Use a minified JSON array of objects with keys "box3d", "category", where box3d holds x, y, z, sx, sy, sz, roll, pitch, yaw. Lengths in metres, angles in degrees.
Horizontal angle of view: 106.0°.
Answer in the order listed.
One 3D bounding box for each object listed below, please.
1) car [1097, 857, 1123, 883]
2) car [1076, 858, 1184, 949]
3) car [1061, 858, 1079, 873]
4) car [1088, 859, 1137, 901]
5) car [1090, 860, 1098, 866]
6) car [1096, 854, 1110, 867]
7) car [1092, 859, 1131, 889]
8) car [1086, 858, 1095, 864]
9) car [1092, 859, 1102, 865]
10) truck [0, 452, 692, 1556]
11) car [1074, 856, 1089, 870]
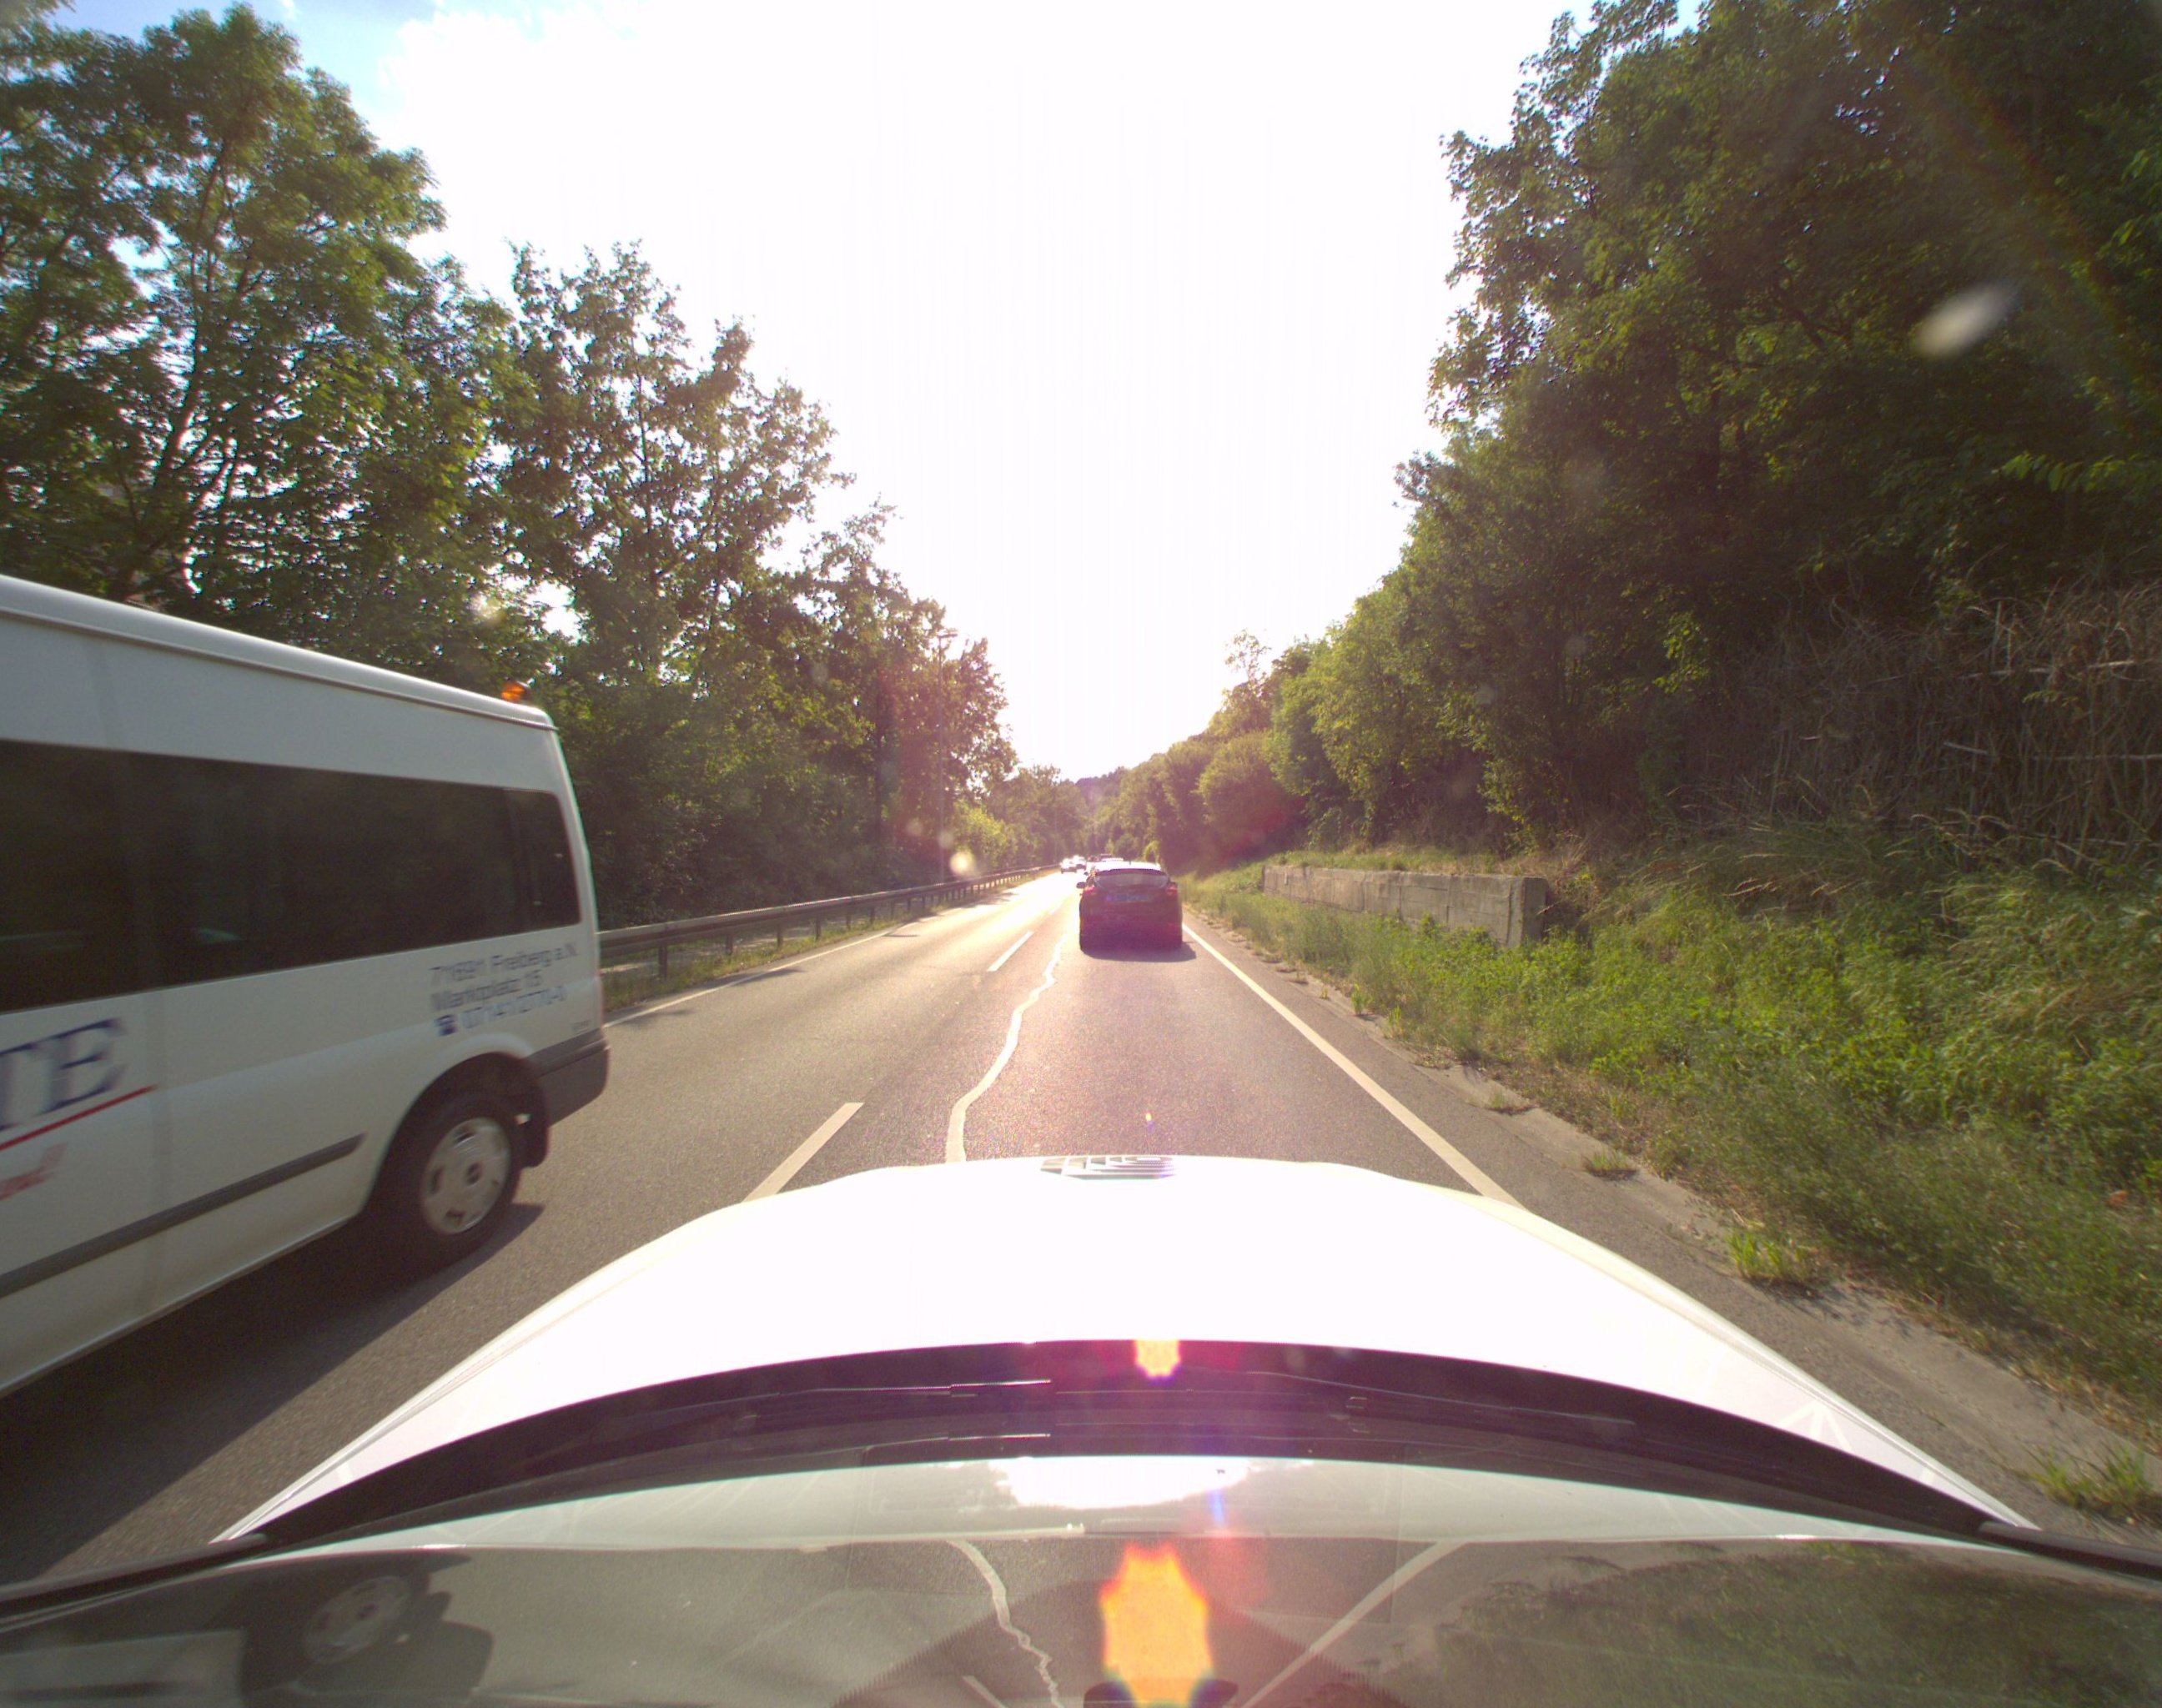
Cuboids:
[{"box3d":[1.924,1.005,53.899,1.624,1.596,4.002,-2,0,2],"category":"car"},{"box3d":[0.865,0.816,15.172,1.733,1.456,4.001,0,-1,2],"category":"car"},{"box3d":[-1.145,1.221,85.937,1.675,1.442,4.001,-2,0,2],"category":"car"},{"box3d":[1.196,0.911,30.208,1.654,1.418,4.003,-1,0,3],"category":"car"},{"box3d":[3.677,2.507,230.377,1.991,1.519,3.992,-1,0,-6],"category":"car"},{"box3d":[3.213,0.911,118.072,1.856,1.780,4.001,-2,0,2],"category":"car"},{"box3d":[1.532,0.980,40.976,1.798,1.391,4.002,-2,0,2],"category":"car"},{"box3d":[2.828,2.067,242.907,1.991,1.519,3.992,-1,0,-6],"category":"car"},{"box3d":[4.133,2.006,209.100,1.991,1.519,3.992,-1,0,-6],"category":"car"},{"box3d":[-3.367,0.337,1.755,2.050,2.385,5.875,-1,0,2],"category":"truck"},{"box3d":[0.105,1.121,101.523,1.741,1.717,4.223,-2,0,2],"category":"car"}]
